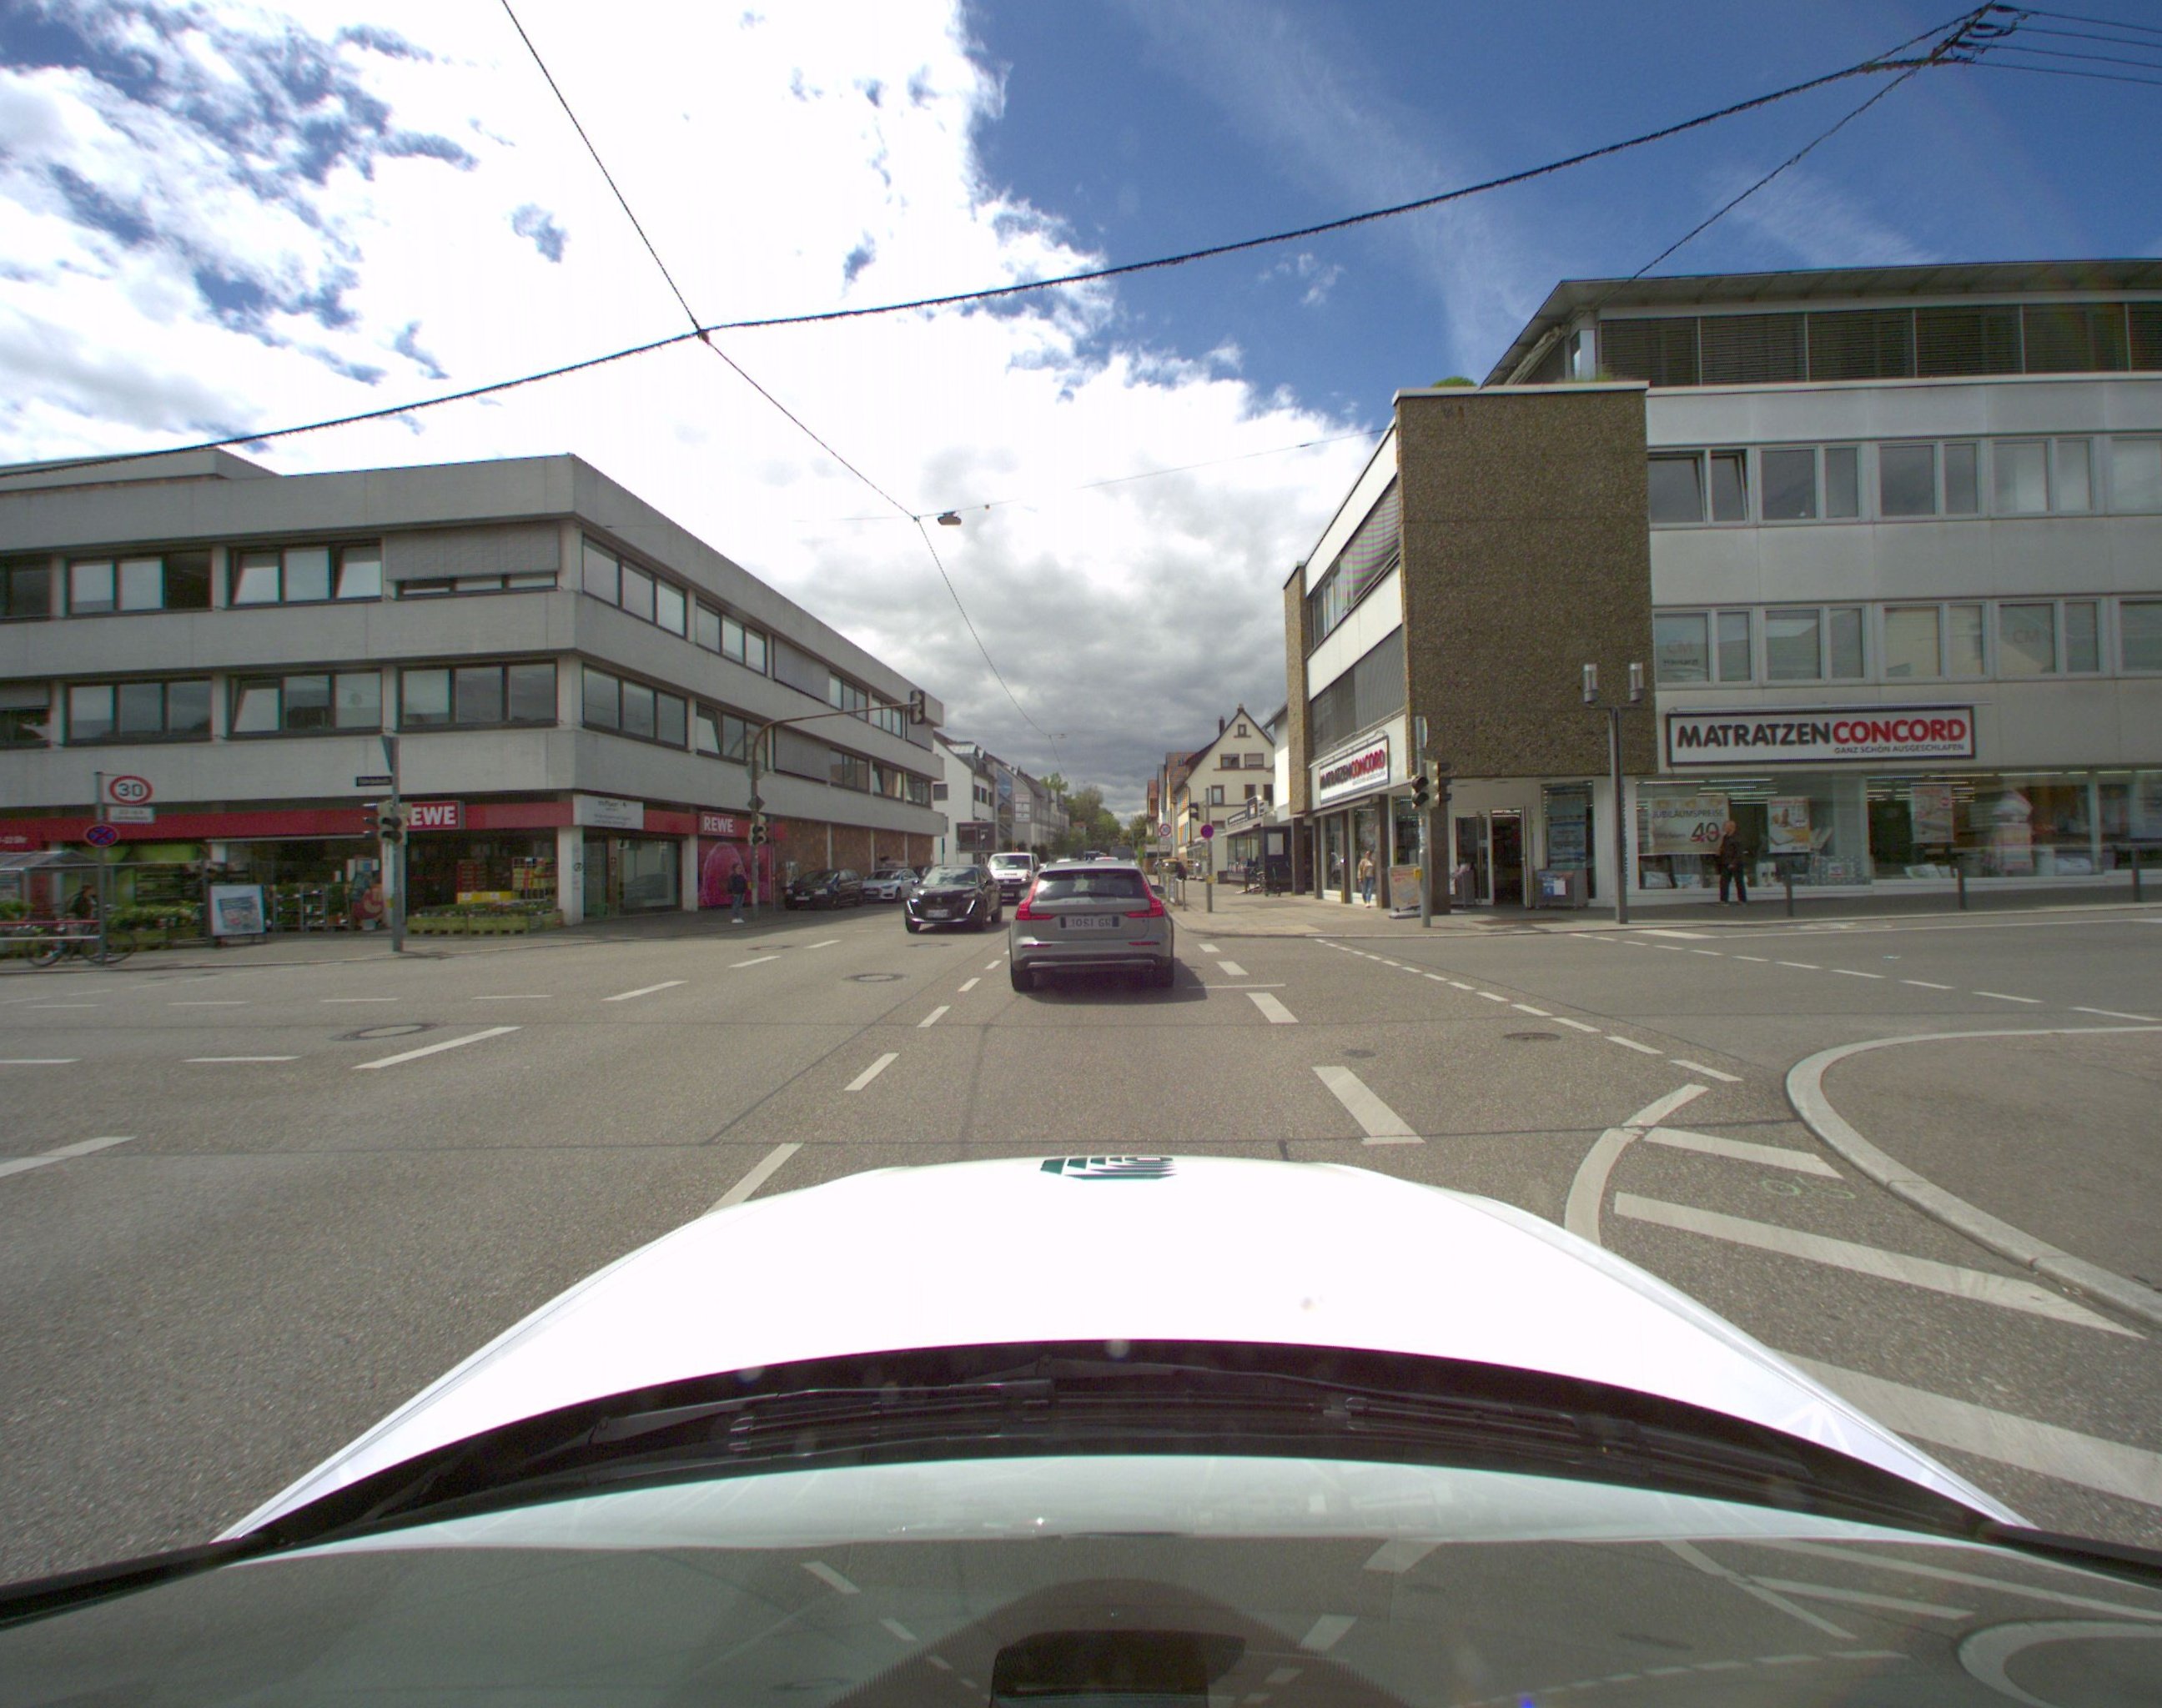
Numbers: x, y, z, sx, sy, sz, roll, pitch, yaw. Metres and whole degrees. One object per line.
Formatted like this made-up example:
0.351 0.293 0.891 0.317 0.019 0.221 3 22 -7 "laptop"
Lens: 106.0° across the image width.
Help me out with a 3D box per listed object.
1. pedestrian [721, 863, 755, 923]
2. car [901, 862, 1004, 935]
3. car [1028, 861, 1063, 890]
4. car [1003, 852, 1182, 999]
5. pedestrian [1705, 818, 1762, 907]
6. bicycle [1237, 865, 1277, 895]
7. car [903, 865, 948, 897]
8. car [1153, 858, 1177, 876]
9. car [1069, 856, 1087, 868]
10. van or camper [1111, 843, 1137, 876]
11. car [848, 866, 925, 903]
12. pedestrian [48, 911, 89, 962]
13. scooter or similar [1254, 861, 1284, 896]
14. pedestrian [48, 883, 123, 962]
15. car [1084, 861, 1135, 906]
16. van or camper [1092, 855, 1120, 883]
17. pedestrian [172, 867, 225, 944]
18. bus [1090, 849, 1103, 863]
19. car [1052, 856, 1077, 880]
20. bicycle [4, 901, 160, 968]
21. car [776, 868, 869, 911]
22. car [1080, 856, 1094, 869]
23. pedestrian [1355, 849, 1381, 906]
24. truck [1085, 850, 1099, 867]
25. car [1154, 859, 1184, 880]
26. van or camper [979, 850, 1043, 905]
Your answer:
-9.584 1.077 22.756 0.616 1.641 0.661 -2 -1 3 "pedestrian"
-2.964 0.984 19.603 1.676 1.497 3.969 -2 0 2 "car"
-2.064 1.225 47.991 1.662 1.554 4.217 -1 -1 3 "car"
0.168 0.765 10.417 1.829 1.486 4.001 -1 -1 1 "car"
12.935 0.175 16.152 0.582 1.705 0.614 -4 0 -30 "pedestrian"
7.235 1.062 33.636 0.555 1.144 2.287 -2 -1 -16 "bicycle"
-7.860 1.332 41.351 1.601 1.543 2.946 0 0 3 "car"
7.432 1.186 72.110 1.875 1.500 3.973 -1 -2 3 "car"
-0.388 1.039 103.239 1.753 1.426 4.007 -2 0 7 "car"
3.707 0.485 70.543 2.115 2.686 4.784 -2 -1 3 "van or camper"
-8.363 1.286 35.460 1.894 1.443 4.450 0 0 6 "car"
-20.733 1.683 16.676 0.364 1.005 0.382 1 -3 -24 "pedestrian"
7.082 0.935 30.707 0.342 1.253 1.236 -3 -1 -24 "scooter or similar"
-21.049 1.427 17.232 0.726 1.597 0.690 1 -3 -25 "pedestrian"
0.987 1.011 28.632 1.644 1.482 3.608 -1 -1 1 "car"
1.750 1.096 57.287 1.812 1.835 4.000 -1 -3 1 "van or camper"
-20.845 1.213 19.248 0.623 1.776 0.551 1 -3 -24 "pedestrian"
3.153 0.325 163.070 2.267 2.668 7.434 -2 0 3 "bus"
-1.366 1.170 68.538 1.831 1.917 4.157 -1 -1 1 "car"
-19.675 1.564 16.081 1.881 1.142 0.774 -3 -1 -9 "bicycle"
-9.401 1.243 30.012 1.776 1.464 4.093 0 -1 6 "car"
0.861 1.270 118.784 1.790 1.816 4.002 -1 -2 3 "car"
7.589 0.608 21.562 0.500 1.459 0.502 -5 -2 15 "pedestrian"
2.001 0.863 145.743 2.267 2.886 7.083 -2 0 3 "truck"
6.306 1.140 58.630 1.705 1.464 3.998 -1 -2 0 "car"
-2.594 0.826 31.319 1.858 1.898 4.694 -1 0 2 "van or camper"
